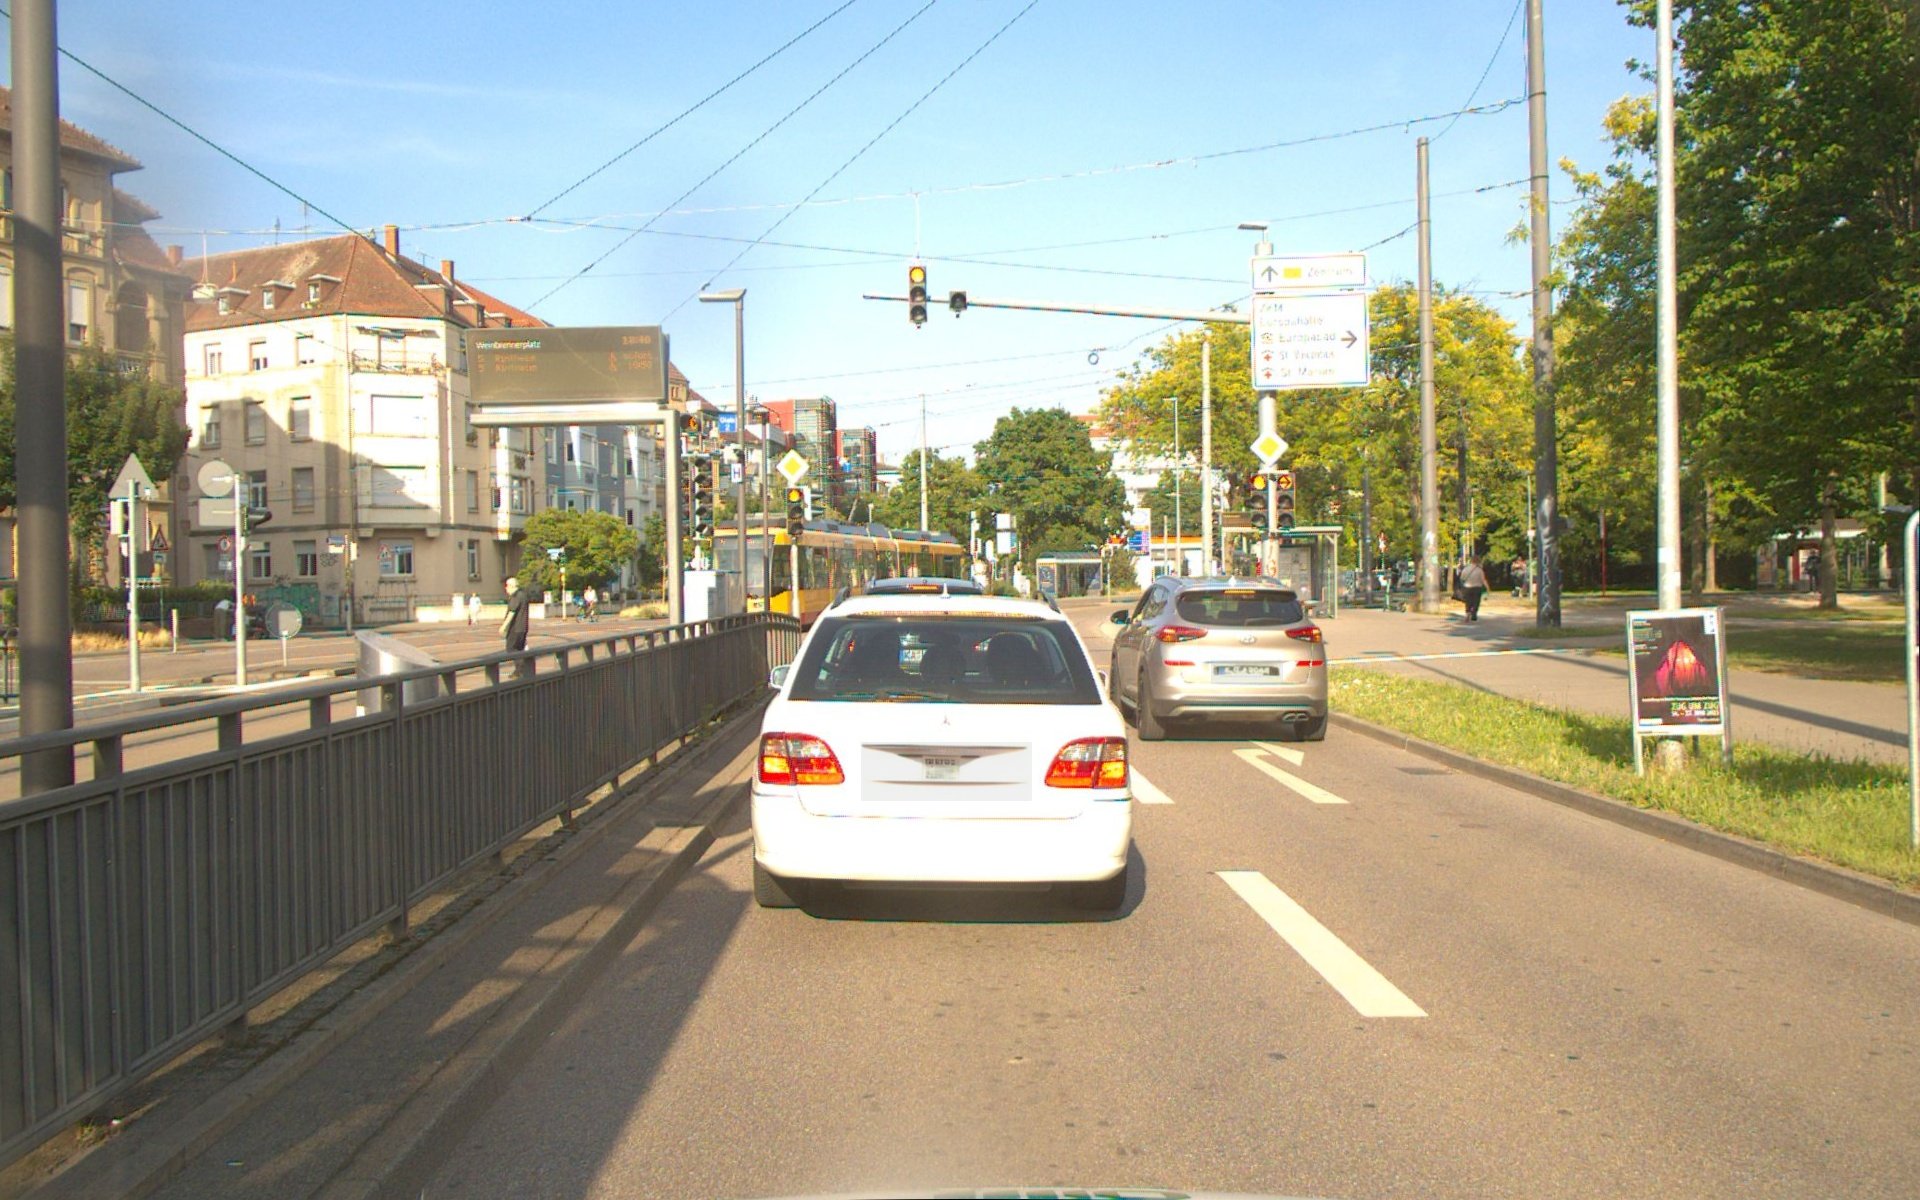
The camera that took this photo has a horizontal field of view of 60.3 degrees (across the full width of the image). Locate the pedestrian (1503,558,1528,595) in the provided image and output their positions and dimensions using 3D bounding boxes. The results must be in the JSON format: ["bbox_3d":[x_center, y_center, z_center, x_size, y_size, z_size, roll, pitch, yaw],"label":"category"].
[{"bbox_3d":[23.418,-0.986,69.721,0.809,1.513,0.690,-2,0,-43],"label":"pedestrian"}]

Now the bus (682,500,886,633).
[{"bbox_3d":[-5.199,-0.920,52.315,3.042,3.669,12.385,1,0,10],"label":"bus"}]

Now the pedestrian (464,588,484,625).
[{"bbox_3d":[-20.922,0.292,71.189,0.616,1.568,0.711,-1,0,-2],"label":"pedestrian"}]

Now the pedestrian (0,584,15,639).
[{"bbox_3d":[-26.799,0.316,46.188,0.428,1.527,0.549,-1,0,13],"label":"pedestrian"}]

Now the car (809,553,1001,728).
[{"bbox_3d":[-0.575,0.383,18.035,1.847,1.680,3.647,1,0,-1],"label":"car"}]

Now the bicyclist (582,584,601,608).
[{"bbox_3d":[-16.632,-0.162,74.561,0.502,1.062,0.679,-1,0,26],"label":"bicyclist"}]

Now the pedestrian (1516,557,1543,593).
[{"bbox_3d":[24.220,-1.050,70.348,0.799,1.513,0.698,-1,0,-12],"label":"pedestrian"}]

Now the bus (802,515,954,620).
[{"bbox_3d":[-2.950,-1.126,64.632,3.042,3.669,12.601,1,0,11],"label":"bus"}]

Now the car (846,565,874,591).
[{"bbox_3d":[-8.183,-1.763,135.565,2.033,2.049,4.162,1,0,-1],"label":"car"}]

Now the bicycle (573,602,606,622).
[{"bbox_3d":[-16.667,0.524,74.459,0.515,0.849,1.685,-1,1,24],"label":"bicycle"}]

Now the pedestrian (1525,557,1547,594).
[{"bbox_3d":[23.973,-1.029,68.830,0.796,1.513,0.700,-1,0,23],"label":"pedestrian"}]

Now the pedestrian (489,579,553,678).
[{"bbox_3d":[-7.640,0.485,28.777,0.744,1.674,0.788,-1,0,45],"label":"pedestrian"}]

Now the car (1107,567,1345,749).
[{"bbox_3d":[2.693,0.532,17.550,1.847,1.680,3.647,-1,0,-1],"label":"car"}]

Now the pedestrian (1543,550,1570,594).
[{"bbox_3d":[25.242,-1.177,70.017,0.784,1.816,0.838,-1,0,-5],"label":"pedestrian"}]

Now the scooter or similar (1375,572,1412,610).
[{"bbox_3d":[13.445,-0.283,51.314,0.413,1.136,1.322,-1,0,-21],"label":"scooter or similar"}]

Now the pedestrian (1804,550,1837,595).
[{"bbox_3d":[32.137,-1.020,61.759,0.818,1.665,0.803,-1,0,5],"label":"pedestrian"}]

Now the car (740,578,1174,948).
[{"bbox_3d":[-0.046,0.649,8.548,1.759,1.496,3.647,0,0,-1],"label":"car"}]

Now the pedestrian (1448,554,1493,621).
[{"bbox_3d":[12.881,-0.317,41.743,0.748,1.665,0.797,-1,0,-41],"label":"pedestrian"}]
